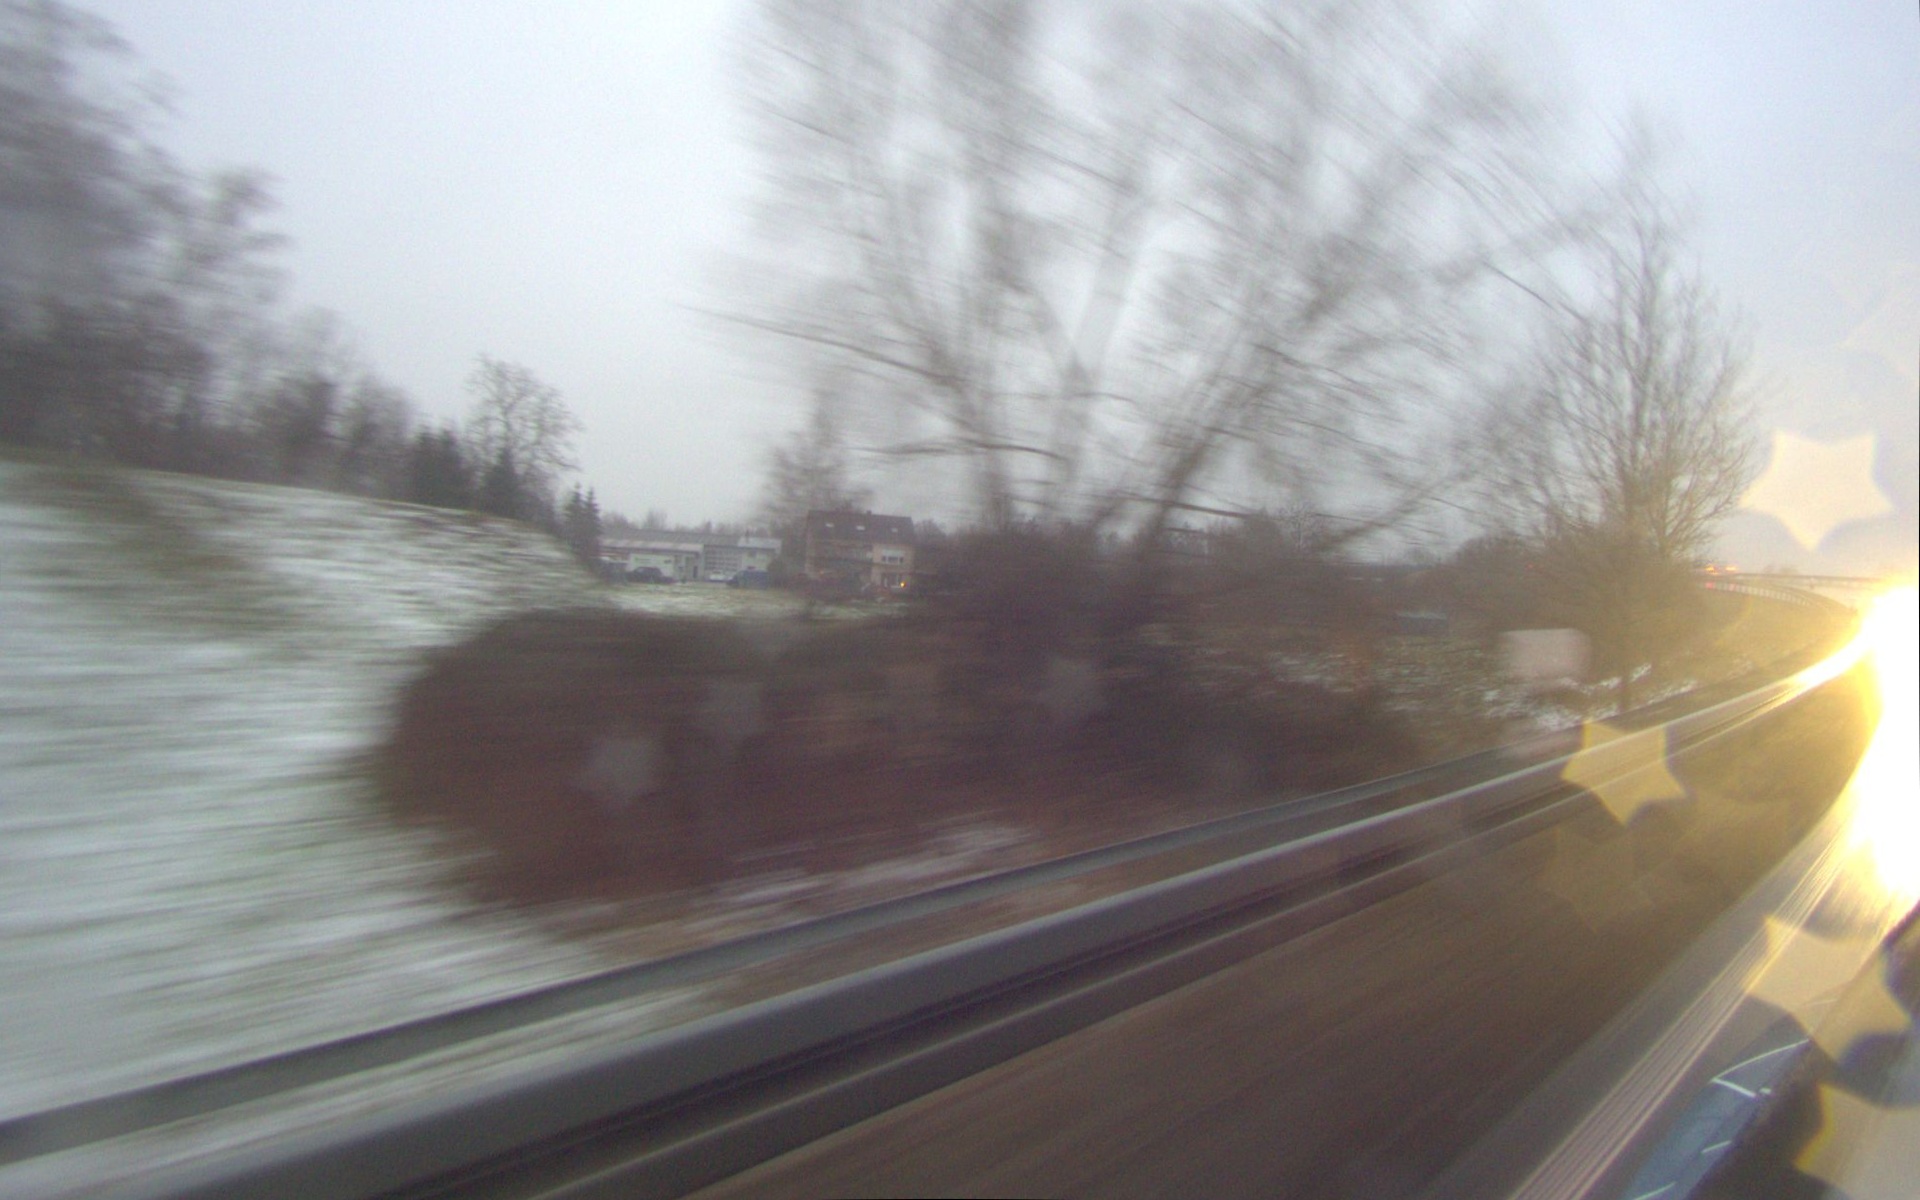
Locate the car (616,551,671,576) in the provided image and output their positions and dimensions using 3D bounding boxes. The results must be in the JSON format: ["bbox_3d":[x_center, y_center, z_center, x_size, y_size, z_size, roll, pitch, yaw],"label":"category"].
[{"bbox_3d":[-36.581,-4.206,117.135,5.987,2.875,2.299,0,2,-13],"label":"car"}]

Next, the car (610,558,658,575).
[{"bbox_3d":[-36.793,-3.778,114.450,5.014,1.841,2.299,0,2,-13],"label":"car"}]

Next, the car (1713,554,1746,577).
[{"bbox_3d":[65.697,-2.974,86.432,1.876,1.886,4.947,2,3,34],"label":"car"}]

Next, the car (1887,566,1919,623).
[{"bbox_3d":[29.281,-0.077,30.124,2.094,1.595,4.731,4,1,39],"label":"car"}]
